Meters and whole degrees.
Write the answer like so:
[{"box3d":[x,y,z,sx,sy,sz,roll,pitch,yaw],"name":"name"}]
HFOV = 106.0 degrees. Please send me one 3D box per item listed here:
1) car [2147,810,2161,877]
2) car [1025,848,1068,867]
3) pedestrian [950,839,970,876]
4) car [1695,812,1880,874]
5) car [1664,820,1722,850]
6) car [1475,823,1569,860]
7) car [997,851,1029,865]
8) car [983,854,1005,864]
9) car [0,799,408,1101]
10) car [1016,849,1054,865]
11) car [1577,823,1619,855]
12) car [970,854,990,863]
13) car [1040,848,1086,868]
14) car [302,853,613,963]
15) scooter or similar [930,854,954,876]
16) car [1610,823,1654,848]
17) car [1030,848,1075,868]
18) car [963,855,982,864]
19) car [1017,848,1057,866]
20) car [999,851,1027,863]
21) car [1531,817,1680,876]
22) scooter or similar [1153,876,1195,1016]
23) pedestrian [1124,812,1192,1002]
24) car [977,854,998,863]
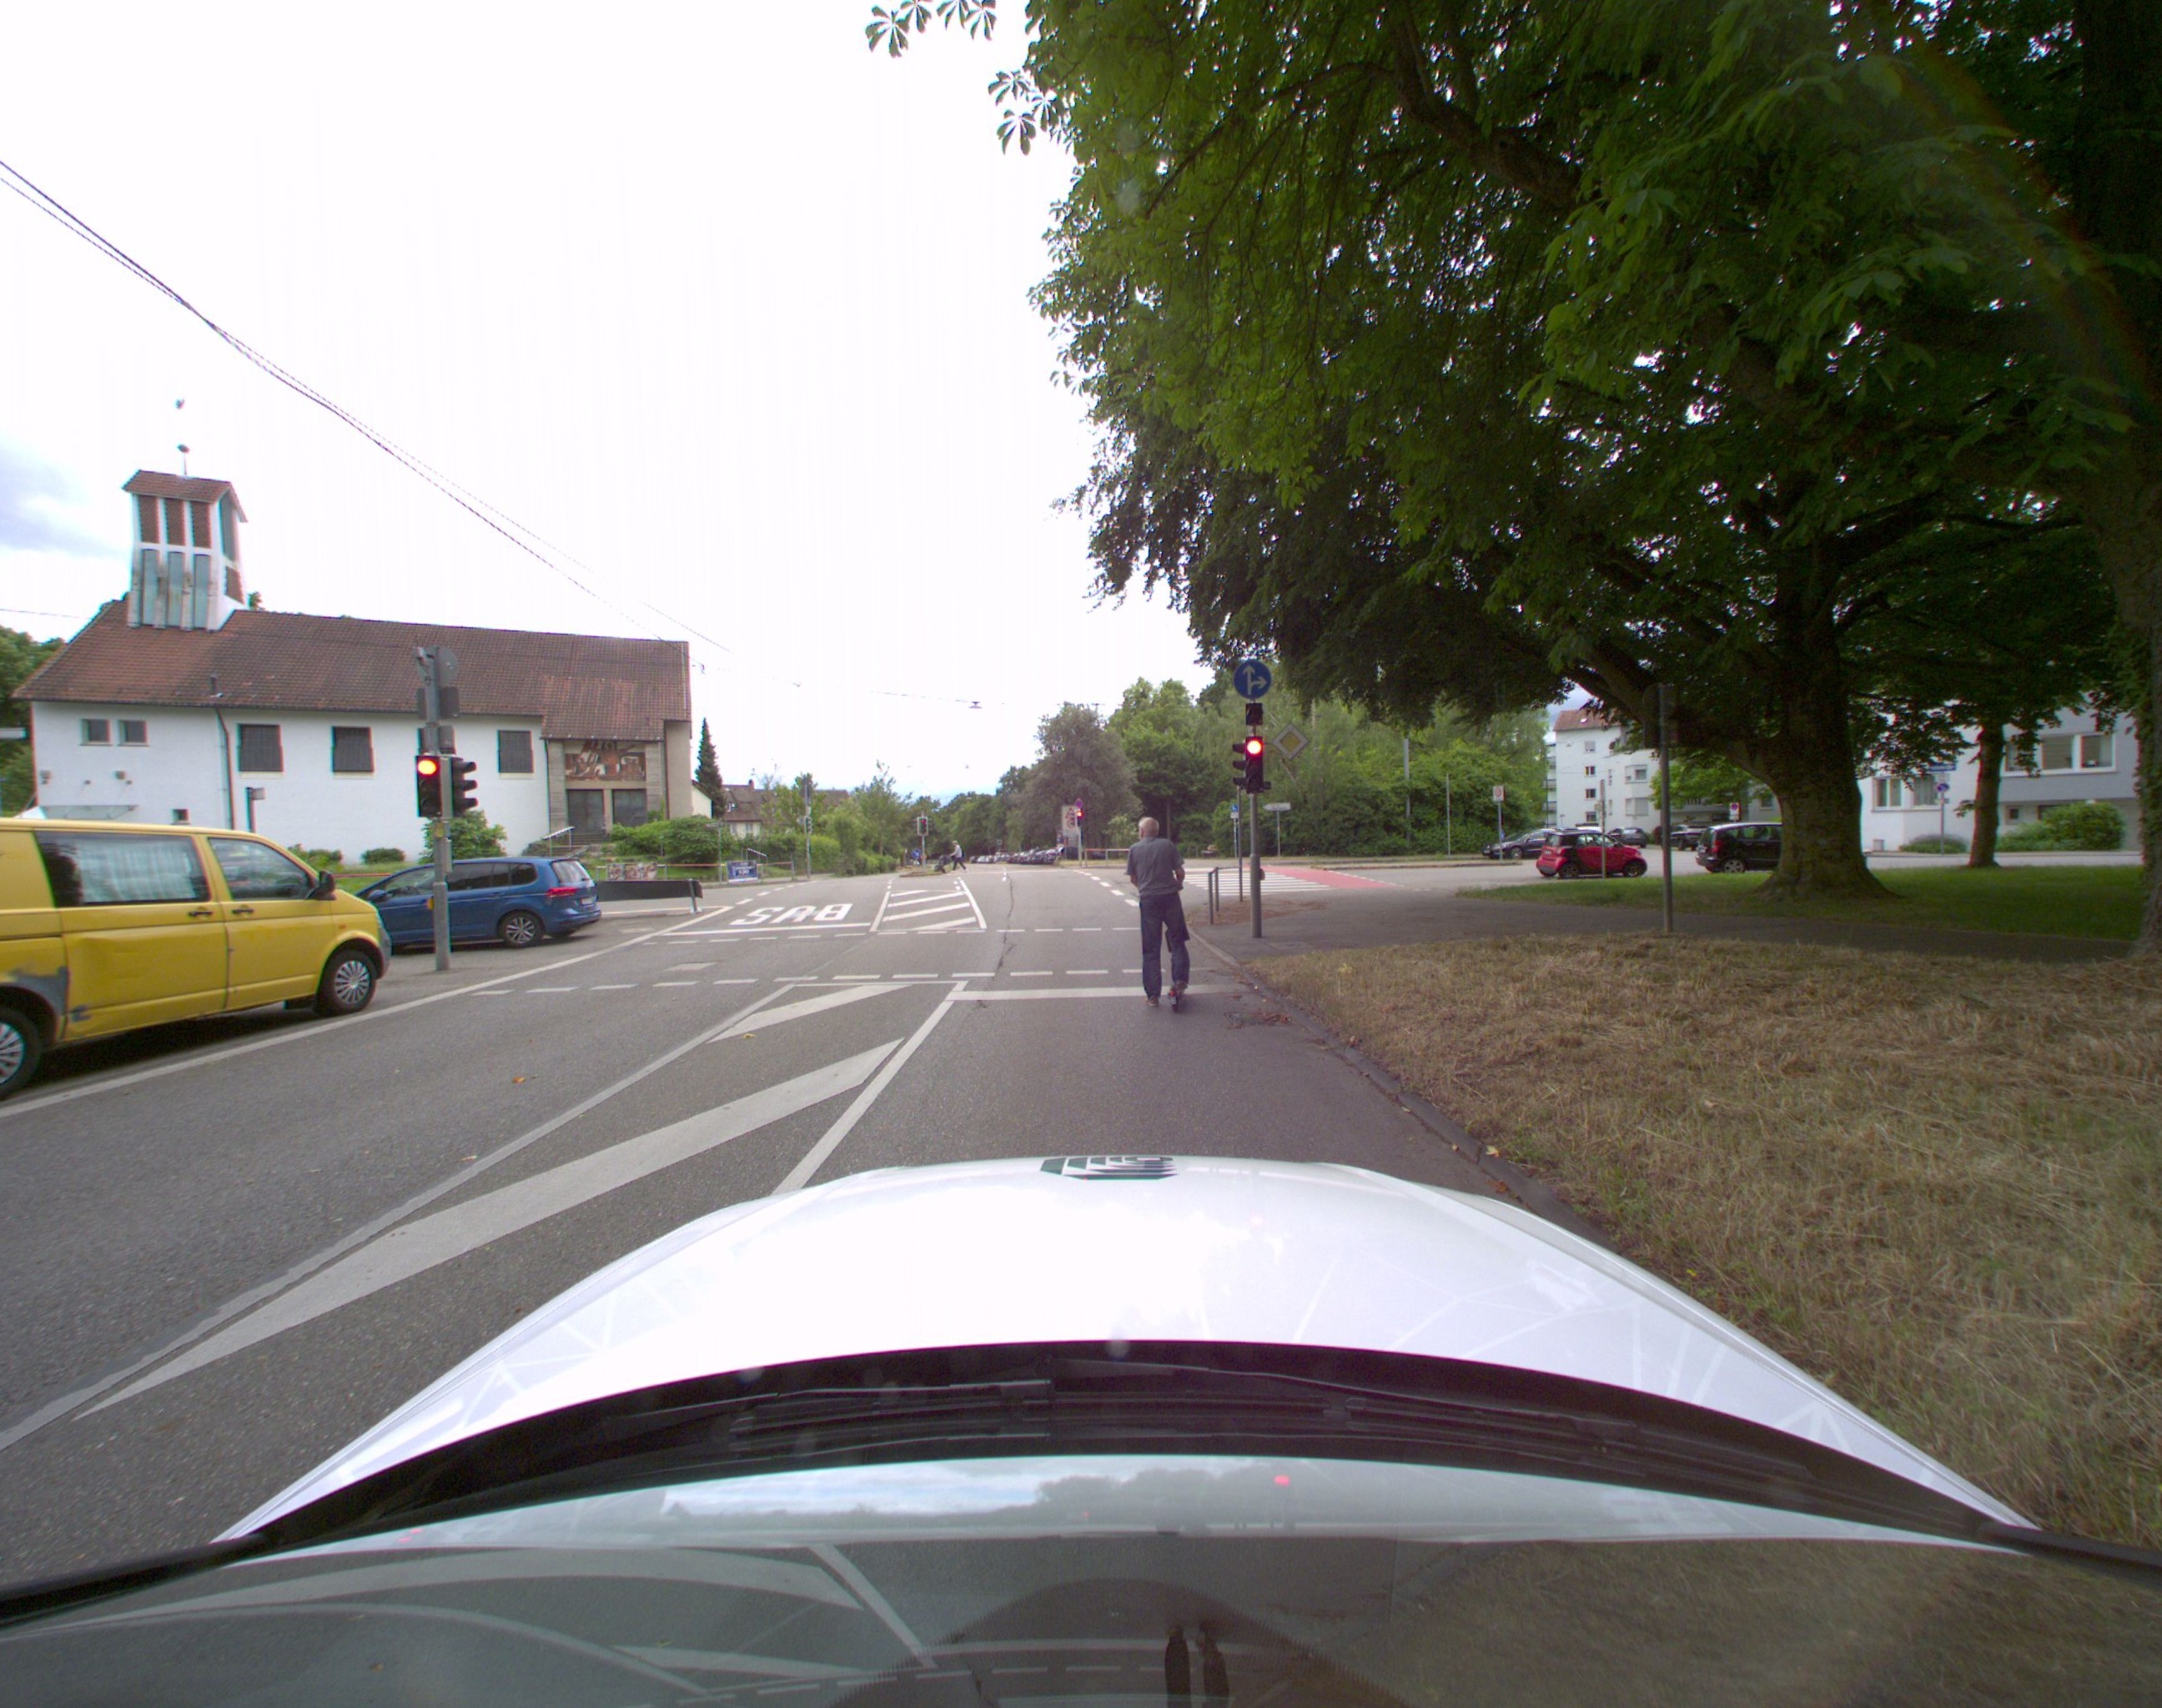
[{"box3d":[27.850,-0.321,18.698,3.805,1.610,1.739,-3,1,43],"name":"car"},{"box3d":[-3.382,0.375,79.944,3.856,1.610,1.716,-3,1,-21],"name":"car"},{"box3d":[-6.325,0.173,42.582,0.887,1.862,0.571,-2,0,-19],"name":"pedestrian"},{"box3d":[20.812,-0.321,24.215,3.805,1.610,1.739,-3,1,27],"name":"car"},{"box3d":[35.515,-1.115,47.362,1.707,1.610,3.875,-3,1,22],"name":"car"},{"box3d":[21.069,-0.602,39.016,3.498,1.530,1.732,-3,1,8],"name":"car"},{"box3d":[-9.200,0.547,109.719,3.856,1.610,1.716,-3,1,-21],"name":"car"},{"box3d":[-16.562,0.982,155.058,3.856,1.610,1.716,-3,1,-21],"name":"car"},{"box3d":[-8.295,0.670,6.712,1.880,2.013,4.558,-2,1,-5],"name":"car"},{"box3d":[-5.051,0.322,89.750,3.856,1.610,1.716,-3,1,-21],"name":"car"},{"box3d":[28.735,-0.835,45.319,1.706,1.610,3.878,-3,1,30],"name":"car"},{"box3d":[-20.734,0.948,166.930,3.856,1.610,1.716,-3,1,-21],"name":"car"},{"box3d":[-1.678,0.343,75.391,3.854,1.610,1.717,-3,1,-19],"name":"car"},{"box3d":[-11.072,0.892,14.793,3.992,1.610,1.810,-3,1,-14],"name":"car"},{"box3d":[-7.212,0.573,42.251,1.111,1.081,0.574,-2,0,-19],"name":"scooter or similar"},{"box3d":[38.886,-1.334,57.578,1.707,1.610,3.875,-3,1,22],"name":"car"},{"box3d":[-2.691,0.368,77.385,3.857,1.610,1.715,-3,1,-22],"name":"car"},{"box3d":[-23.567,1.229,176.793,3.856,1.610,1.716,-3,1,-21],"name":"car"},{"box3d":[-4.714,0.318,87.328,3.856,1.610,1.716,-3,1,-21],"name":"car"},{"box3d":[-10.292,0.484,122.721,3.856,1.610,1.716,-3,1,-21],"name":"car"},{"box3d":[16.503,-0.236,25.766,3.499,1.610,1.732,-3,1,7],"name":"car"},{"box3d":[0.899,0.831,7.750,0.280,1.178,1.180,-2,0,10],"name":"scooter or similar"},{"box3d":[0.769,0.509,8.044,0.569,1.813,0.421,-2,0,10],"name":"pedestrian"},{"box3d":[-18.373,0.944,159.806,3.856,1.610,1.716,-3,1,-21],"name":"car"}]
